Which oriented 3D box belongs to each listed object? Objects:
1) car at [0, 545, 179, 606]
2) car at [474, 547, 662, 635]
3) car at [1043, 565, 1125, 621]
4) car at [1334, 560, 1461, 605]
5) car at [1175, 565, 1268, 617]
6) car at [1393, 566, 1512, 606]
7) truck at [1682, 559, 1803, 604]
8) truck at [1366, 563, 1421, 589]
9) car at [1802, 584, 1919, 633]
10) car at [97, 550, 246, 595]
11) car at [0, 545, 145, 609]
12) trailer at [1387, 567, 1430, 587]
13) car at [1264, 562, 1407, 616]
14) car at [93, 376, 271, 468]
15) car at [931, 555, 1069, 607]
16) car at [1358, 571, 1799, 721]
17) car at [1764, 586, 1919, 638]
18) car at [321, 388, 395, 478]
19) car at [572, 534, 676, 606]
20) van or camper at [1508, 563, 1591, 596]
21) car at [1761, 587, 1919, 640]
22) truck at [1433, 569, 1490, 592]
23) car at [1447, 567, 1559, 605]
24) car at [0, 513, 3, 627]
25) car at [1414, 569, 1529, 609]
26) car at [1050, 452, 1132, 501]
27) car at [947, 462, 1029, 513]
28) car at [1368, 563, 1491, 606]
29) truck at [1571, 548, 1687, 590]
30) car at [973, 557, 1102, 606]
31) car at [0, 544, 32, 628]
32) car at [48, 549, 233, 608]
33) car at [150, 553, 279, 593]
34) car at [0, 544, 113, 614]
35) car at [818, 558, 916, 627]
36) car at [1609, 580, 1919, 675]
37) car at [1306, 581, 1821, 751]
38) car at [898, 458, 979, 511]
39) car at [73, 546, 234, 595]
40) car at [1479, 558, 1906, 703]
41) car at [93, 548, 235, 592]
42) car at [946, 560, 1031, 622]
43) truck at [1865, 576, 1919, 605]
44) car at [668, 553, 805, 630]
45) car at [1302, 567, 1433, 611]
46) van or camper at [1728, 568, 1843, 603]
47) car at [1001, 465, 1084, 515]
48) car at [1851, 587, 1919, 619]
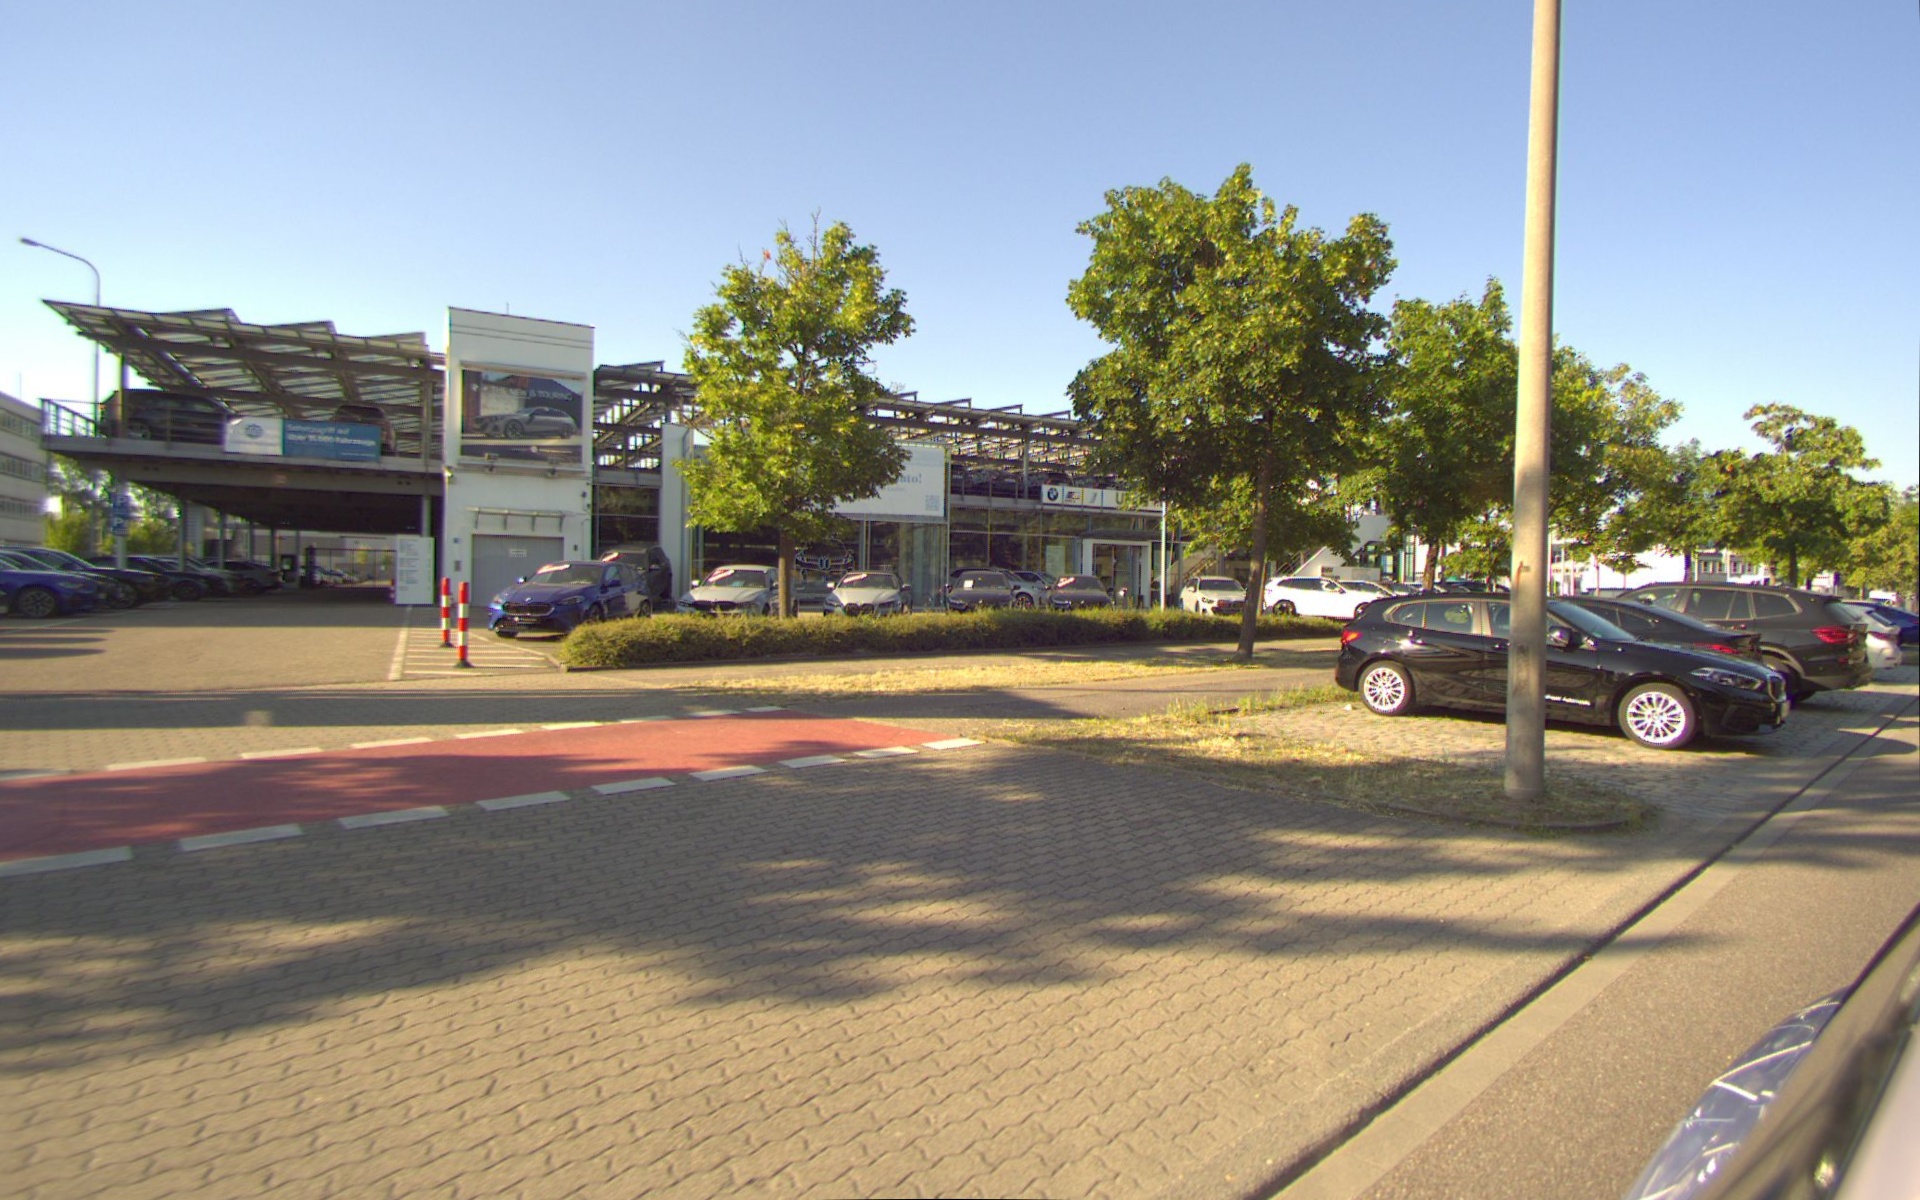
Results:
[{"bbox_3d":[-23.114,-0.628,26.045,4.467,1.473,2.041,0,1,-27],"label":"car"},{"bbox_3d":[-7.427,-0.230,19.745,1.961,1.482,4.793,1,2,-2],"label":"car"},{"bbox_3d":[3.512,-0.255,29.552,1.963,1.482,4.788,1,2,2],"label":"car"},{"bbox_3d":[17.551,-0.727,40.852,4.549,1.593,1.987,3,2,21],"label":"car"},{"bbox_3d":[8.805,-0.351,34.528,1.963,1.591,5.189,1,2,2],"label":"car"},{"bbox_3d":[22.056,-0.673,45.527,4.549,1.593,1.987,3,2,21],"label":"car"},{"bbox_3d":[65.742,-1.572,85.301,3.052,3.565,8.267,1,2,-7],"label":"truck"},{"bbox_3d":[63.385,-3.480,147.974,6.965,3.620,2.682,1,1,-11],"label":"truck"},{"bbox_3d":[34.592,0.317,37.839,4.593,1.604,1.968,4,3,44],"label":"car"},{"bbox_3d":[-31.359,-1.083,40.435,4.471,1.694,2.040,0,1,-32],"label":"car"},{"bbox_3d":[-22.304,-0.553,23.872,4.467,1.450,2.041,0,1,-27],"label":"car"},{"bbox_3d":[58.433,-3.031,131.997,4.757,2.467,2.004,1,1,-11],"label":"trailer"},{"bbox_3d":[13.641,-0.454,36.969,4.672,1.711,2.395,3,2,21],"label":"car"},{"bbox_3d":[-23.838,-5.407,31.222,4.118,2.129,2.001,1,-1,-31],"label":"car"},{"bbox_3d":[1.458,-0.742,37.654,4.752,1.796,1.978,2,2,31],"label":"car"},{"bbox_3d":[7.776,0.438,13.091,1.998,1.570,4.489,0,1,-41],"label":"car"},{"bbox_3d":[30.919,0.376,35.193,1.966,1.497,4.383,0,3,-43],"label":"car"},{"bbox_3d":[-19.725,-5.381,33.209,1.960,2.129,4.204,1,-1,-30],"label":"car"},{"bbox_3d":[-10.347,-0.921,31.454,1.961,2.039,4.185,1,1,-2],"label":"car"},{"bbox_3d":[62.474,-2.210,107.423,2.363,3.370,8.158,1,2,-16],"label":"van or camper"},{"bbox_3d":[29.245,0.410,32.991,1.966,1.474,4.631,0,3,-43],"label":"car"},{"bbox_3d":[67.416,-2.593,135.986,6.965,2.942,2.004,1,1,-11],"label":"truck"},{"bbox_3d":[26.631,-0.721,49.813,4.551,1.687,1.986,3,2,22],"label":"car"},{"bbox_3d":[-17.260,-0.473,14.707,4.467,1.850,2.041,0,1,-27],"label":"car"},{"bbox_3d":[24.025,-0.555,47.705,4.549,1.687,1.987,3,2,21],"label":"car"},{"bbox_3d":[6.037,-5.679,46.982,1.751,1.688,4.004,1,-1,-29],"label":"car"},{"bbox_3d":[1.158,-4.861,44.255,1.751,1.688,4.003,1,-1,-30],"label":"car"},{"bbox_3d":[19.951,-0.701,43.270,4.549,1.593,1.987,3,2,21],"label":"car"},{"bbox_3d":[63.582,-2.966,96.629,3.228,3.689,10.137,1,2,-8],"label":"truck"},{"bbox_3d":[3.047,-0.757,40.158,4.752,1.796,1.978,2,2,31],"label":"car"},{"bbox_3d":[-18.877,-0.270,16.988,4.467,1.450,2.041,0,1,-27],"label":"car"},{"bbox_3d":[-26.732,-0.676,33.231,4.471,1.812,2.040,0,1,-32],"label":"car"},{"bbox_3d":[-33.384,-1.182,45.487,4.471,1.694,2.040,0,1,-32],"label":"car"},{"bbox_3d":[-21.021,-0.467,21.352,4.467,1.450,2.041,0,1,-27],"label":"car"},{"bbox_3d":[-2.143,-0.229,24.518,1.962,1.482,4.791,1,2,0],"label":"car"},{"bbox_3d":[16.107,0.453,20.425,1.966,1.497,4.702,0,3,-43],"label":"car"},{"bbox_3d":[6.381,0.535,11.114,1.999,1.421,4.487,0,1,-43],"label":"car"},{"bbox_3d":[-0.973,-4.877,43.048,1.751,1.688,4.003,1,-1,-30],"label":"car"},{"bbox_3d":[-29.915,-1.068,37.741,4.471,1.694,2.040,0,1,-32],"label":"car"},{"bbox_3d":[10.588,0.312,14.971,2.152,1.773,4.707,0,1,-38],"label":"car"},{"bbox_3d":[-33.195,-1.234,42.378,4.471,1.694,2.040,0,1,-32],"label":"car"},{"bbox_3d":[0.661,-0.299,27.026,1.961,1.482,4.793,1,2,-2],"label":"car"},{"bbox_3d":[92.681,-0.948,100.162,5.849,2.754,2.551,1,1,-27],"label":"truck"},{"bbox_3d":[-4.748,-0.238,22.229,2.007,1.482,4.791,1,2,-1],"label":"car"},{"bbox_3d":[15.620,-0.439,39.029,4.548,1.593,1.987,-1,1,21],"label":"car"},{"bbox_3d":[75.067,-1.374,92.293,2.881,2.936,8.029,1,2,-12],"label":"van or camper"},{"bbox_3d":[3.613,-4.852,45.062,1.751,1.688,4.003,1,-1,-30],"label":"car"},{"bbox_3d":[48.527,0.176,51.834,2.054,1.461,4.202,0,3,-44],"label":"car"}]
